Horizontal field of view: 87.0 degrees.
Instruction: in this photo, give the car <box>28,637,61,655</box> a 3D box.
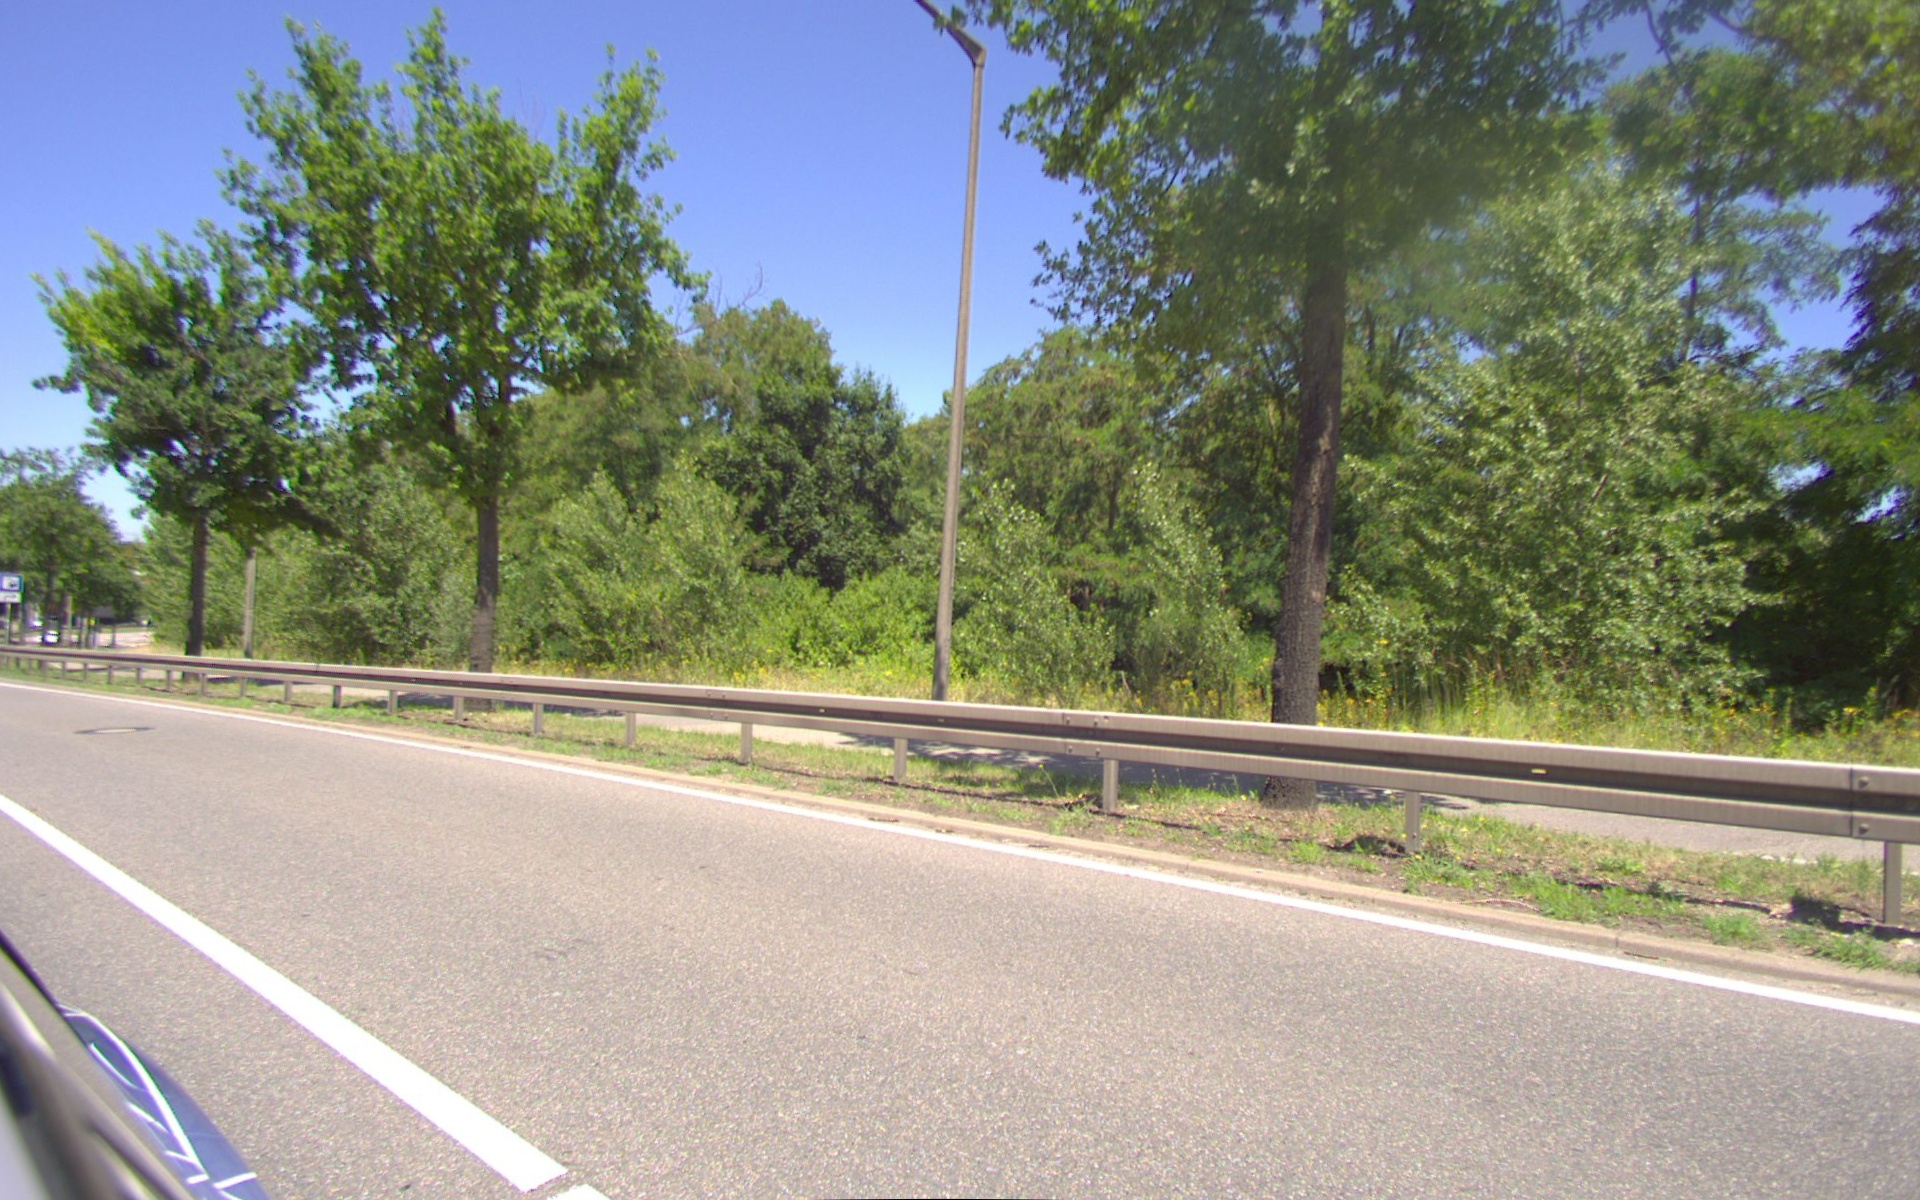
[{"bbox_3d":[-85.620,4.283,94.721,1.752,1.454,4.010,0,0,-34],"label":"car"}]
